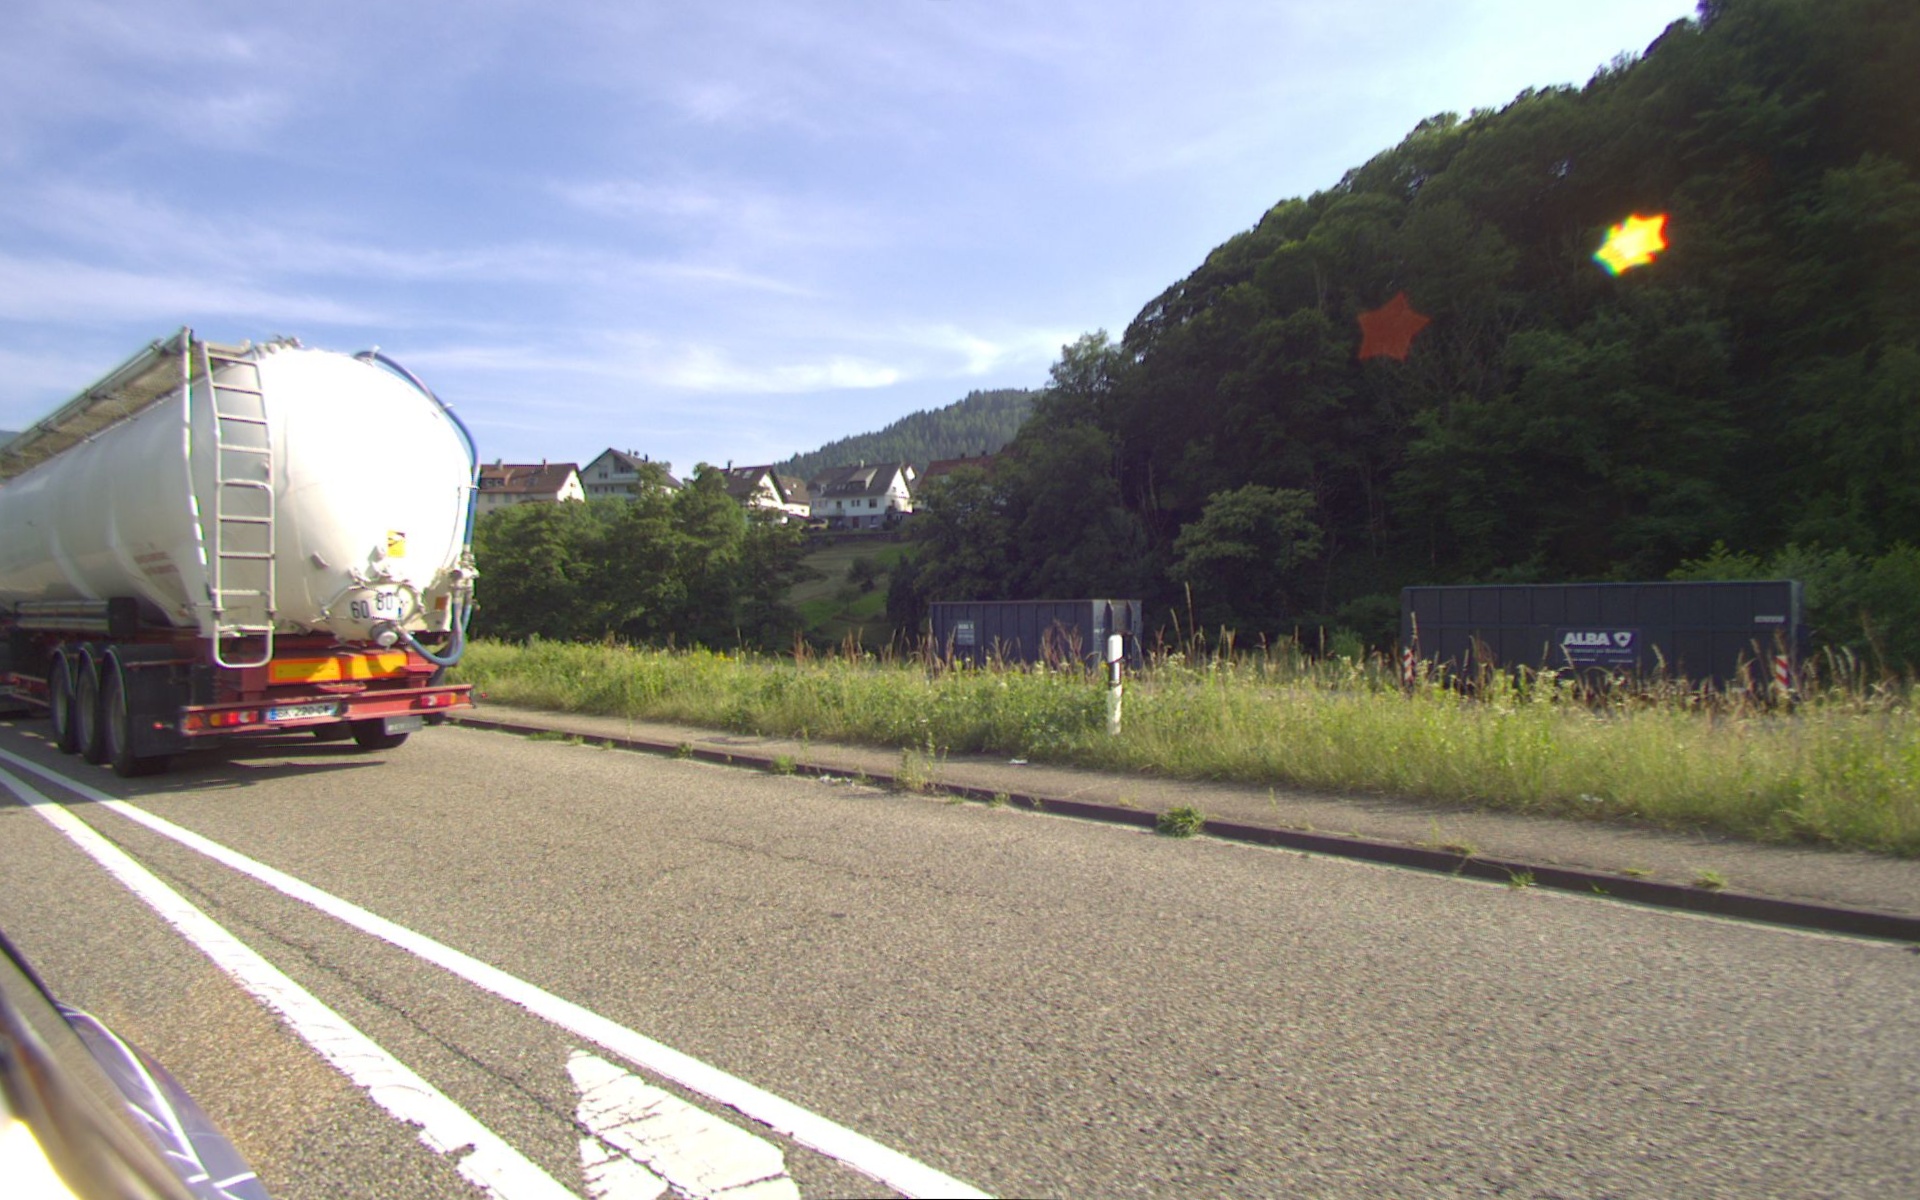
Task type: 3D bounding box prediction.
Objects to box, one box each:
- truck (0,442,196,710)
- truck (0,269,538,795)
[{"bbox_3d":[-16.384,-0.261,17.908,8.189,3.864,2.723,-1,-1,39],"label":"truck"},{"bbox_3d":[-10.462,-0.359,13.098,14.546,3.864,2.723,-1,-1,39],"label":"truck"}]
